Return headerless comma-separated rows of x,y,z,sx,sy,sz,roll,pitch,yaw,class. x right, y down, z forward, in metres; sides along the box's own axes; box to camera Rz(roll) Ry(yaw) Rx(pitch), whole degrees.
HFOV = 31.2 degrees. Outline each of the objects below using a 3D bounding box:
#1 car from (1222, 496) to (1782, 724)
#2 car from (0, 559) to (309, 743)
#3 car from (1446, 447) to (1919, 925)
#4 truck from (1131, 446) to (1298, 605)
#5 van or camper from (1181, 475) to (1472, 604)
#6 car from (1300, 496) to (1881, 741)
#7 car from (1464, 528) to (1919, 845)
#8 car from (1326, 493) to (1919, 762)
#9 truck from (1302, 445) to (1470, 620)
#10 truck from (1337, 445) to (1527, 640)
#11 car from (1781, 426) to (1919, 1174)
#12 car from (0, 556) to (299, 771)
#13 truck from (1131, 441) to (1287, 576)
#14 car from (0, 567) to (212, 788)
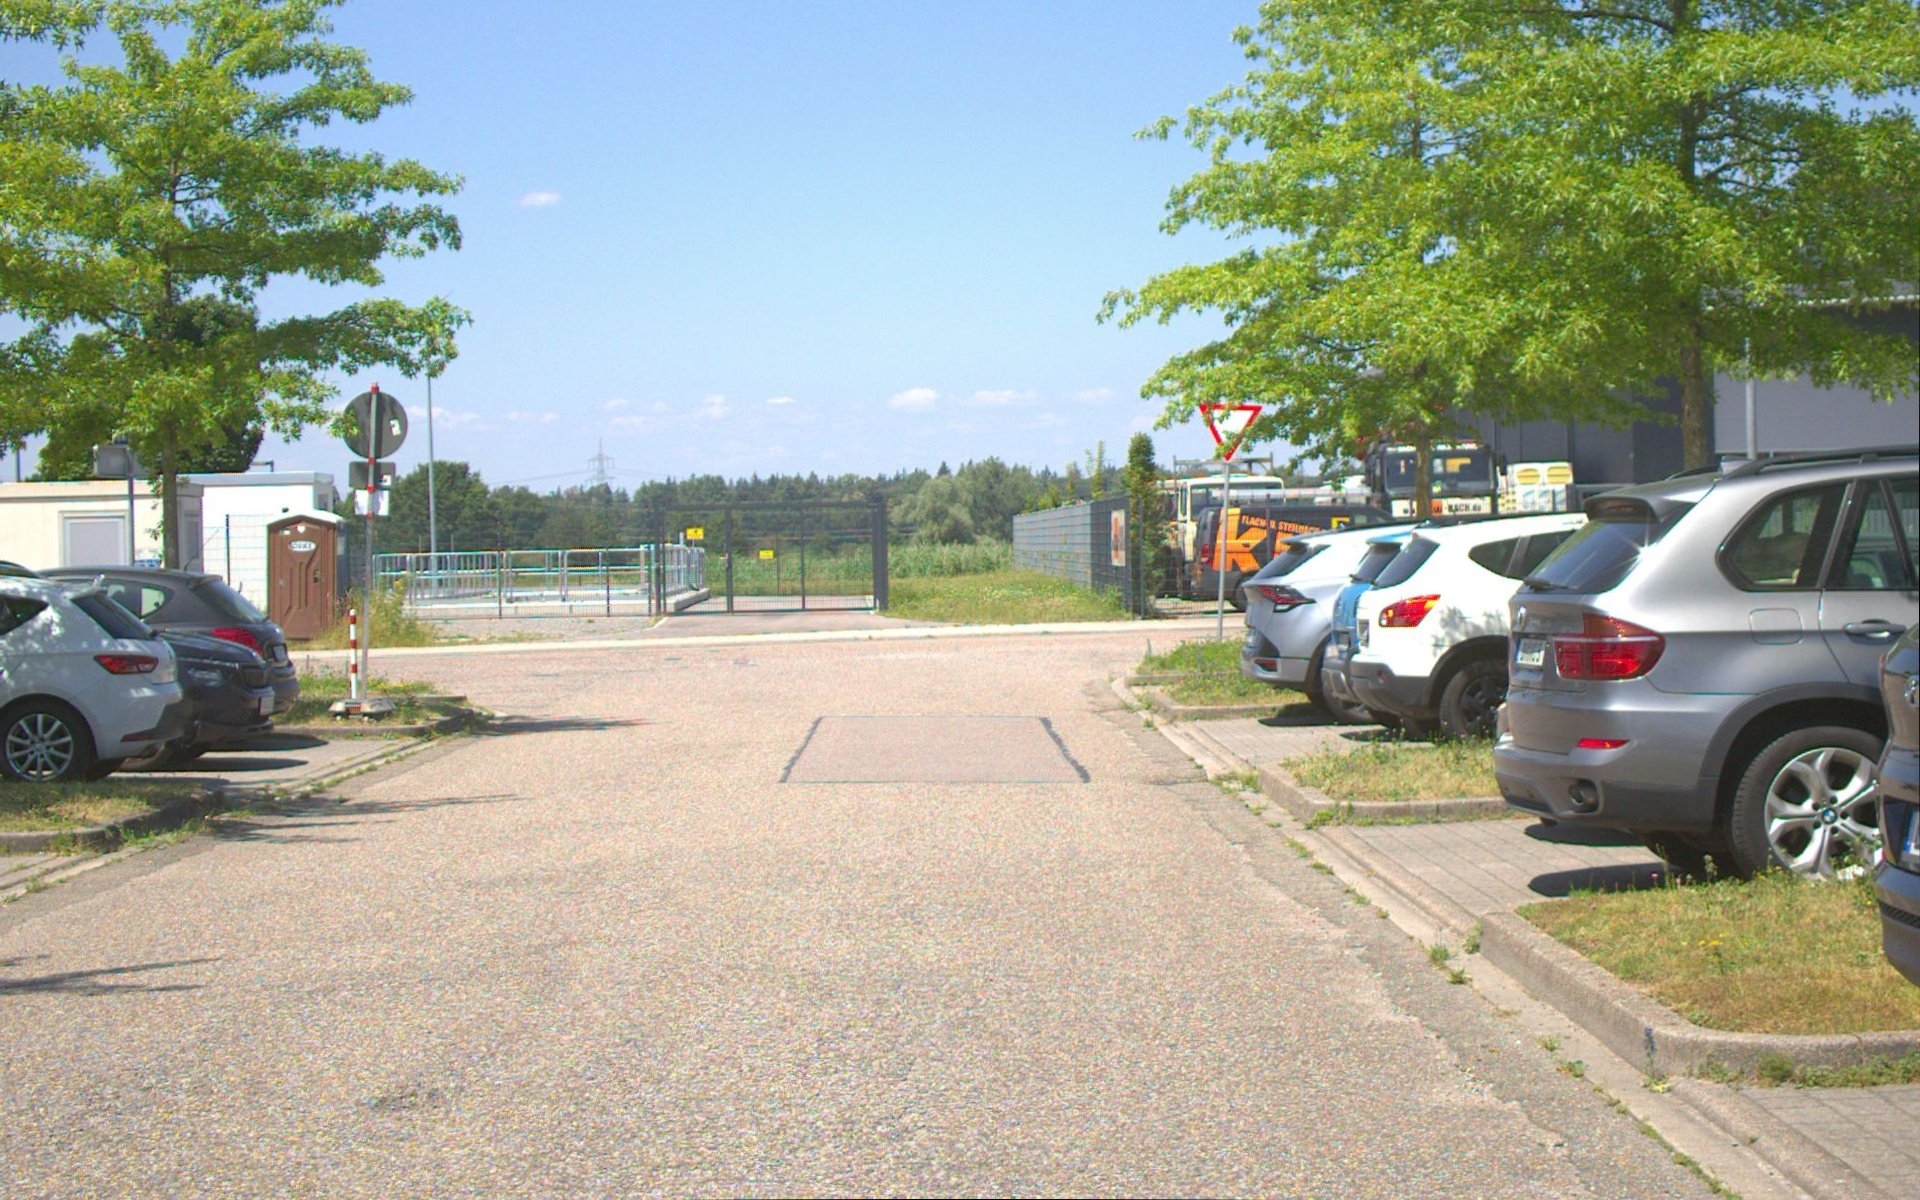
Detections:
4.414,0.065,28.465,4.279,1.638,1.851,-3,1,0,car
-7.307,0.390,28.257,3.625,1.431,1.726,1,1,-3,car
4.429,0.241,14.185,4.448,1.762,1.993,-3,1,-2,car
5.164,-1.524,70.815,2.726,3.051,6.936,-1,1,-1,truck
6.547,-1.107,61.779,4.936,2.156,2.000,-1,2,-1,van or camper
4.691,0.118,25.983,3.987,1.638,1.838,-2,1,-1,car
4.601,0.367,16.848,3.922,1.405,1.909,-2,0,0,car
4.652,0.166,23.430,4.068,1.602,1.901,-2,0,1,car
10.060,-1.604,81.884,2.921,3.915,6.936,-1,1,-1,truck
10.047,-1.245,73.848,2.921,3.915,6.936,-1,1,-1,truck
4.223,0.361,7.875,4.173,1.690,1.782,-3,1,-1,car
-7.044,0.439,25.633,3.927,1.515,1.785,1,1,-3,car
5.705,-2.102,79.834,2.921,2.927,6.936,-1,1,-1,truck
-7.291,0.482,23.356,4.075,1.419,1.874,1,1,-4,car
